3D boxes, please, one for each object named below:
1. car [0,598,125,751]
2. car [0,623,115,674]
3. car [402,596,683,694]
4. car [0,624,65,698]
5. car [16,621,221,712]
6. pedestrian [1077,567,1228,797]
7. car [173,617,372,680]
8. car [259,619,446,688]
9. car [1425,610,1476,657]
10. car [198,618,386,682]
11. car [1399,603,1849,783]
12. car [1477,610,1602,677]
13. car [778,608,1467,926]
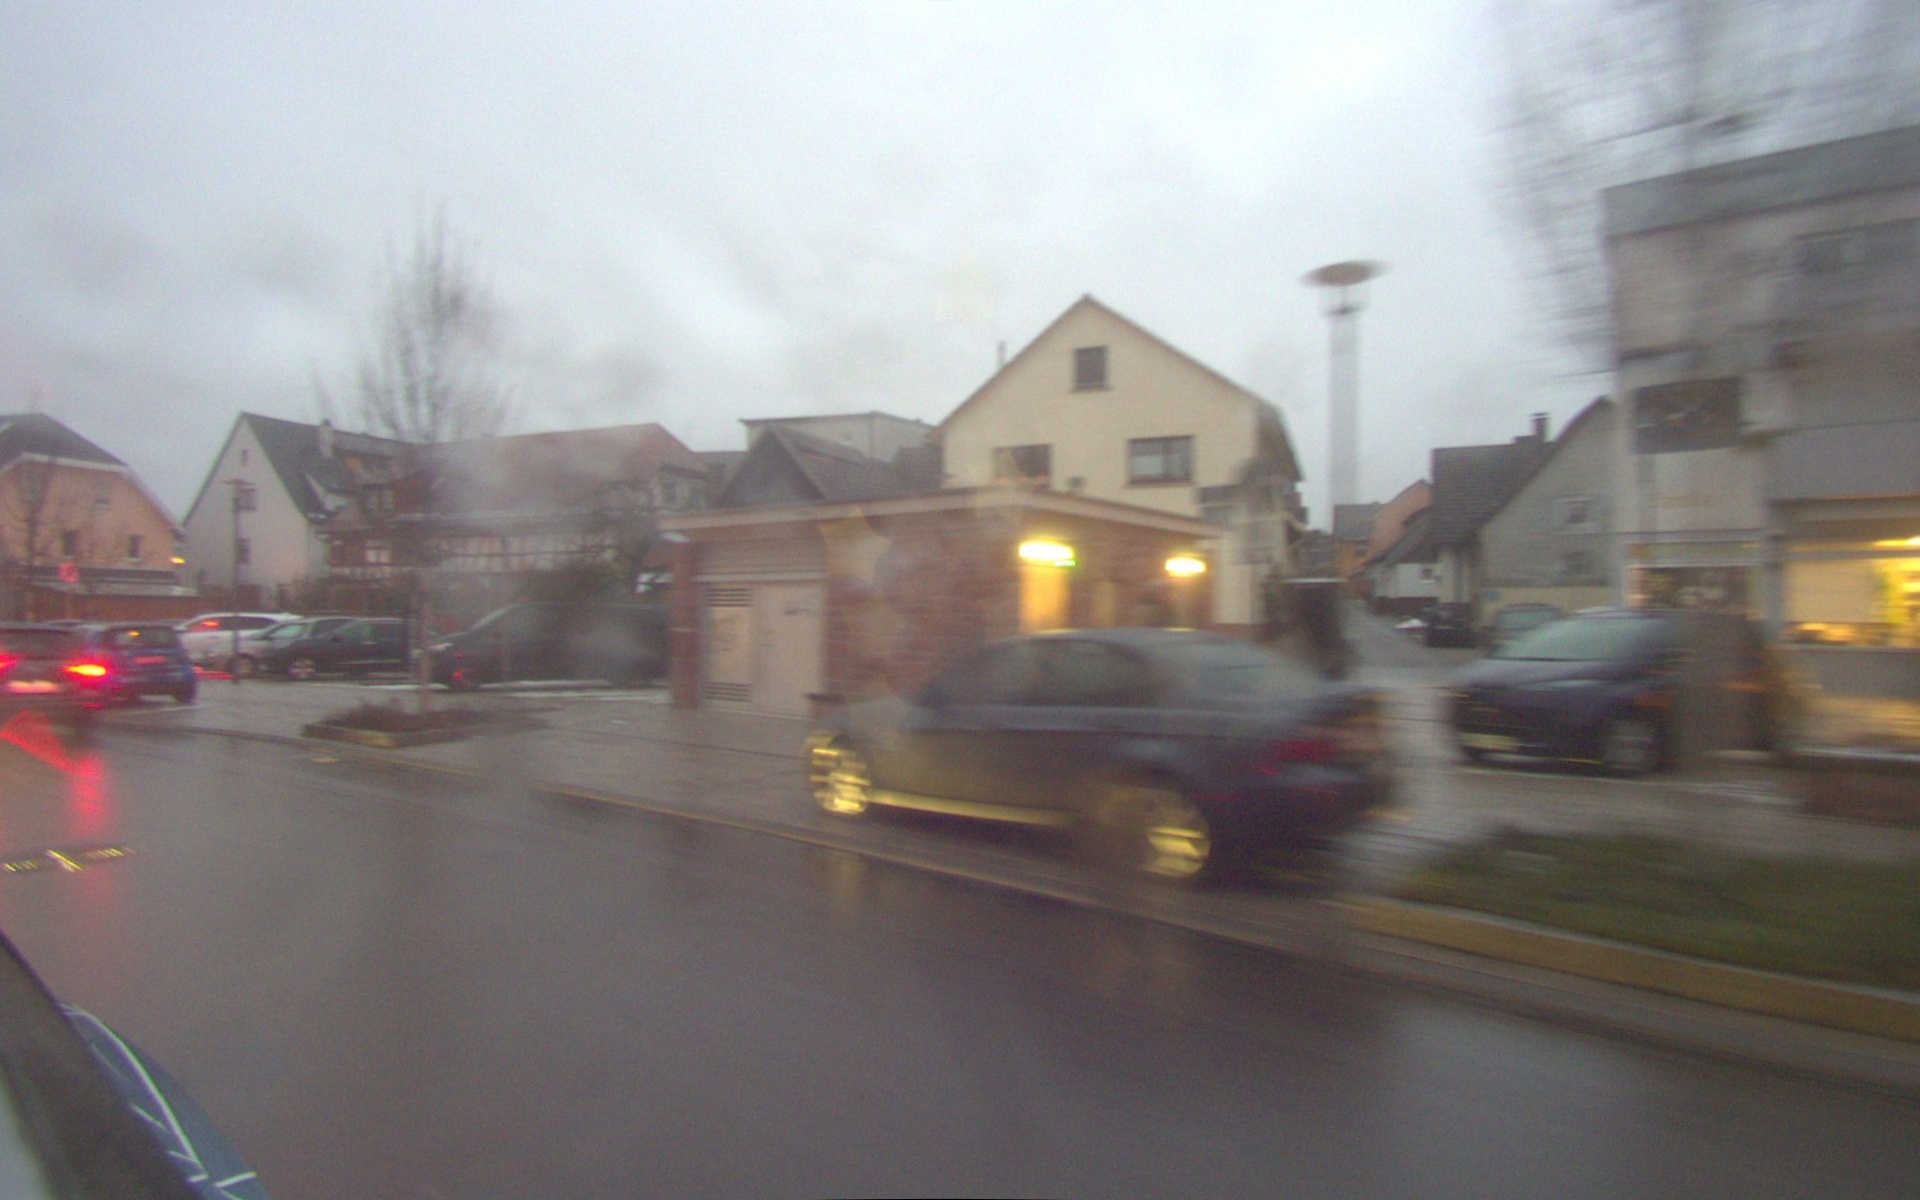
[{"bbox_3d":[-13.608,0.964,13.922,4.732,1.875,2.122,-2,-1,35],"label":"car"},{"bbox_3d":[-28.176,1.433,30.563,4.012,1.470,1.760,1,-2,-43],"label":"car"},{"bbox_3d":[-8.897,0.968,21.747,5.305,1.900,2.080,2,-3,-31],"label":"car"},{"bbox_3d":[-22.179,1.329,22.223,4.219,1.545,1.900,-1,-1,17],"label":"car"},{"bbox_3d":[-16.024,1.196,19.259,3.660,1.547,1.821,-1,-1,29],"label":"car"},{"bbox_3d":[1.687,0.684,8.916,1.061,1.881,0.745,-2,-2,45],"label":"pedestrian"},{"bbox_3d":[-19.700,1.337,29.115,4.580,1.666,1.992,1,-2,-38],"label":"car"},{"bbox_3d":[-15.284,1.293,25.553,3.933,1.541,2.005,0,-1,-33],"label":"car"},{"bbox_3d":[19.852,1.339,41.065,1.745,1.813,3.966,-1,-2,25],"label":"car"},{"bbox_3d":[-17.767,1.322,27.014,4.047,1.594,1.724,2,-3,-38],"label":"car"},{"bbox_3d":[6.530,0.843,9.971,4.018,1.488,1.745,1,-3,-23],"label":"car"},{"bbox_3d":[14.022,0.994,24.389,1.875,1.478,3.945,-2,-1,41],"label":"car"},{"bbox_3d":[0.822,0.840,6.964,4.458,1.483,1.728,-1,-1,43],"label":"car"}]
